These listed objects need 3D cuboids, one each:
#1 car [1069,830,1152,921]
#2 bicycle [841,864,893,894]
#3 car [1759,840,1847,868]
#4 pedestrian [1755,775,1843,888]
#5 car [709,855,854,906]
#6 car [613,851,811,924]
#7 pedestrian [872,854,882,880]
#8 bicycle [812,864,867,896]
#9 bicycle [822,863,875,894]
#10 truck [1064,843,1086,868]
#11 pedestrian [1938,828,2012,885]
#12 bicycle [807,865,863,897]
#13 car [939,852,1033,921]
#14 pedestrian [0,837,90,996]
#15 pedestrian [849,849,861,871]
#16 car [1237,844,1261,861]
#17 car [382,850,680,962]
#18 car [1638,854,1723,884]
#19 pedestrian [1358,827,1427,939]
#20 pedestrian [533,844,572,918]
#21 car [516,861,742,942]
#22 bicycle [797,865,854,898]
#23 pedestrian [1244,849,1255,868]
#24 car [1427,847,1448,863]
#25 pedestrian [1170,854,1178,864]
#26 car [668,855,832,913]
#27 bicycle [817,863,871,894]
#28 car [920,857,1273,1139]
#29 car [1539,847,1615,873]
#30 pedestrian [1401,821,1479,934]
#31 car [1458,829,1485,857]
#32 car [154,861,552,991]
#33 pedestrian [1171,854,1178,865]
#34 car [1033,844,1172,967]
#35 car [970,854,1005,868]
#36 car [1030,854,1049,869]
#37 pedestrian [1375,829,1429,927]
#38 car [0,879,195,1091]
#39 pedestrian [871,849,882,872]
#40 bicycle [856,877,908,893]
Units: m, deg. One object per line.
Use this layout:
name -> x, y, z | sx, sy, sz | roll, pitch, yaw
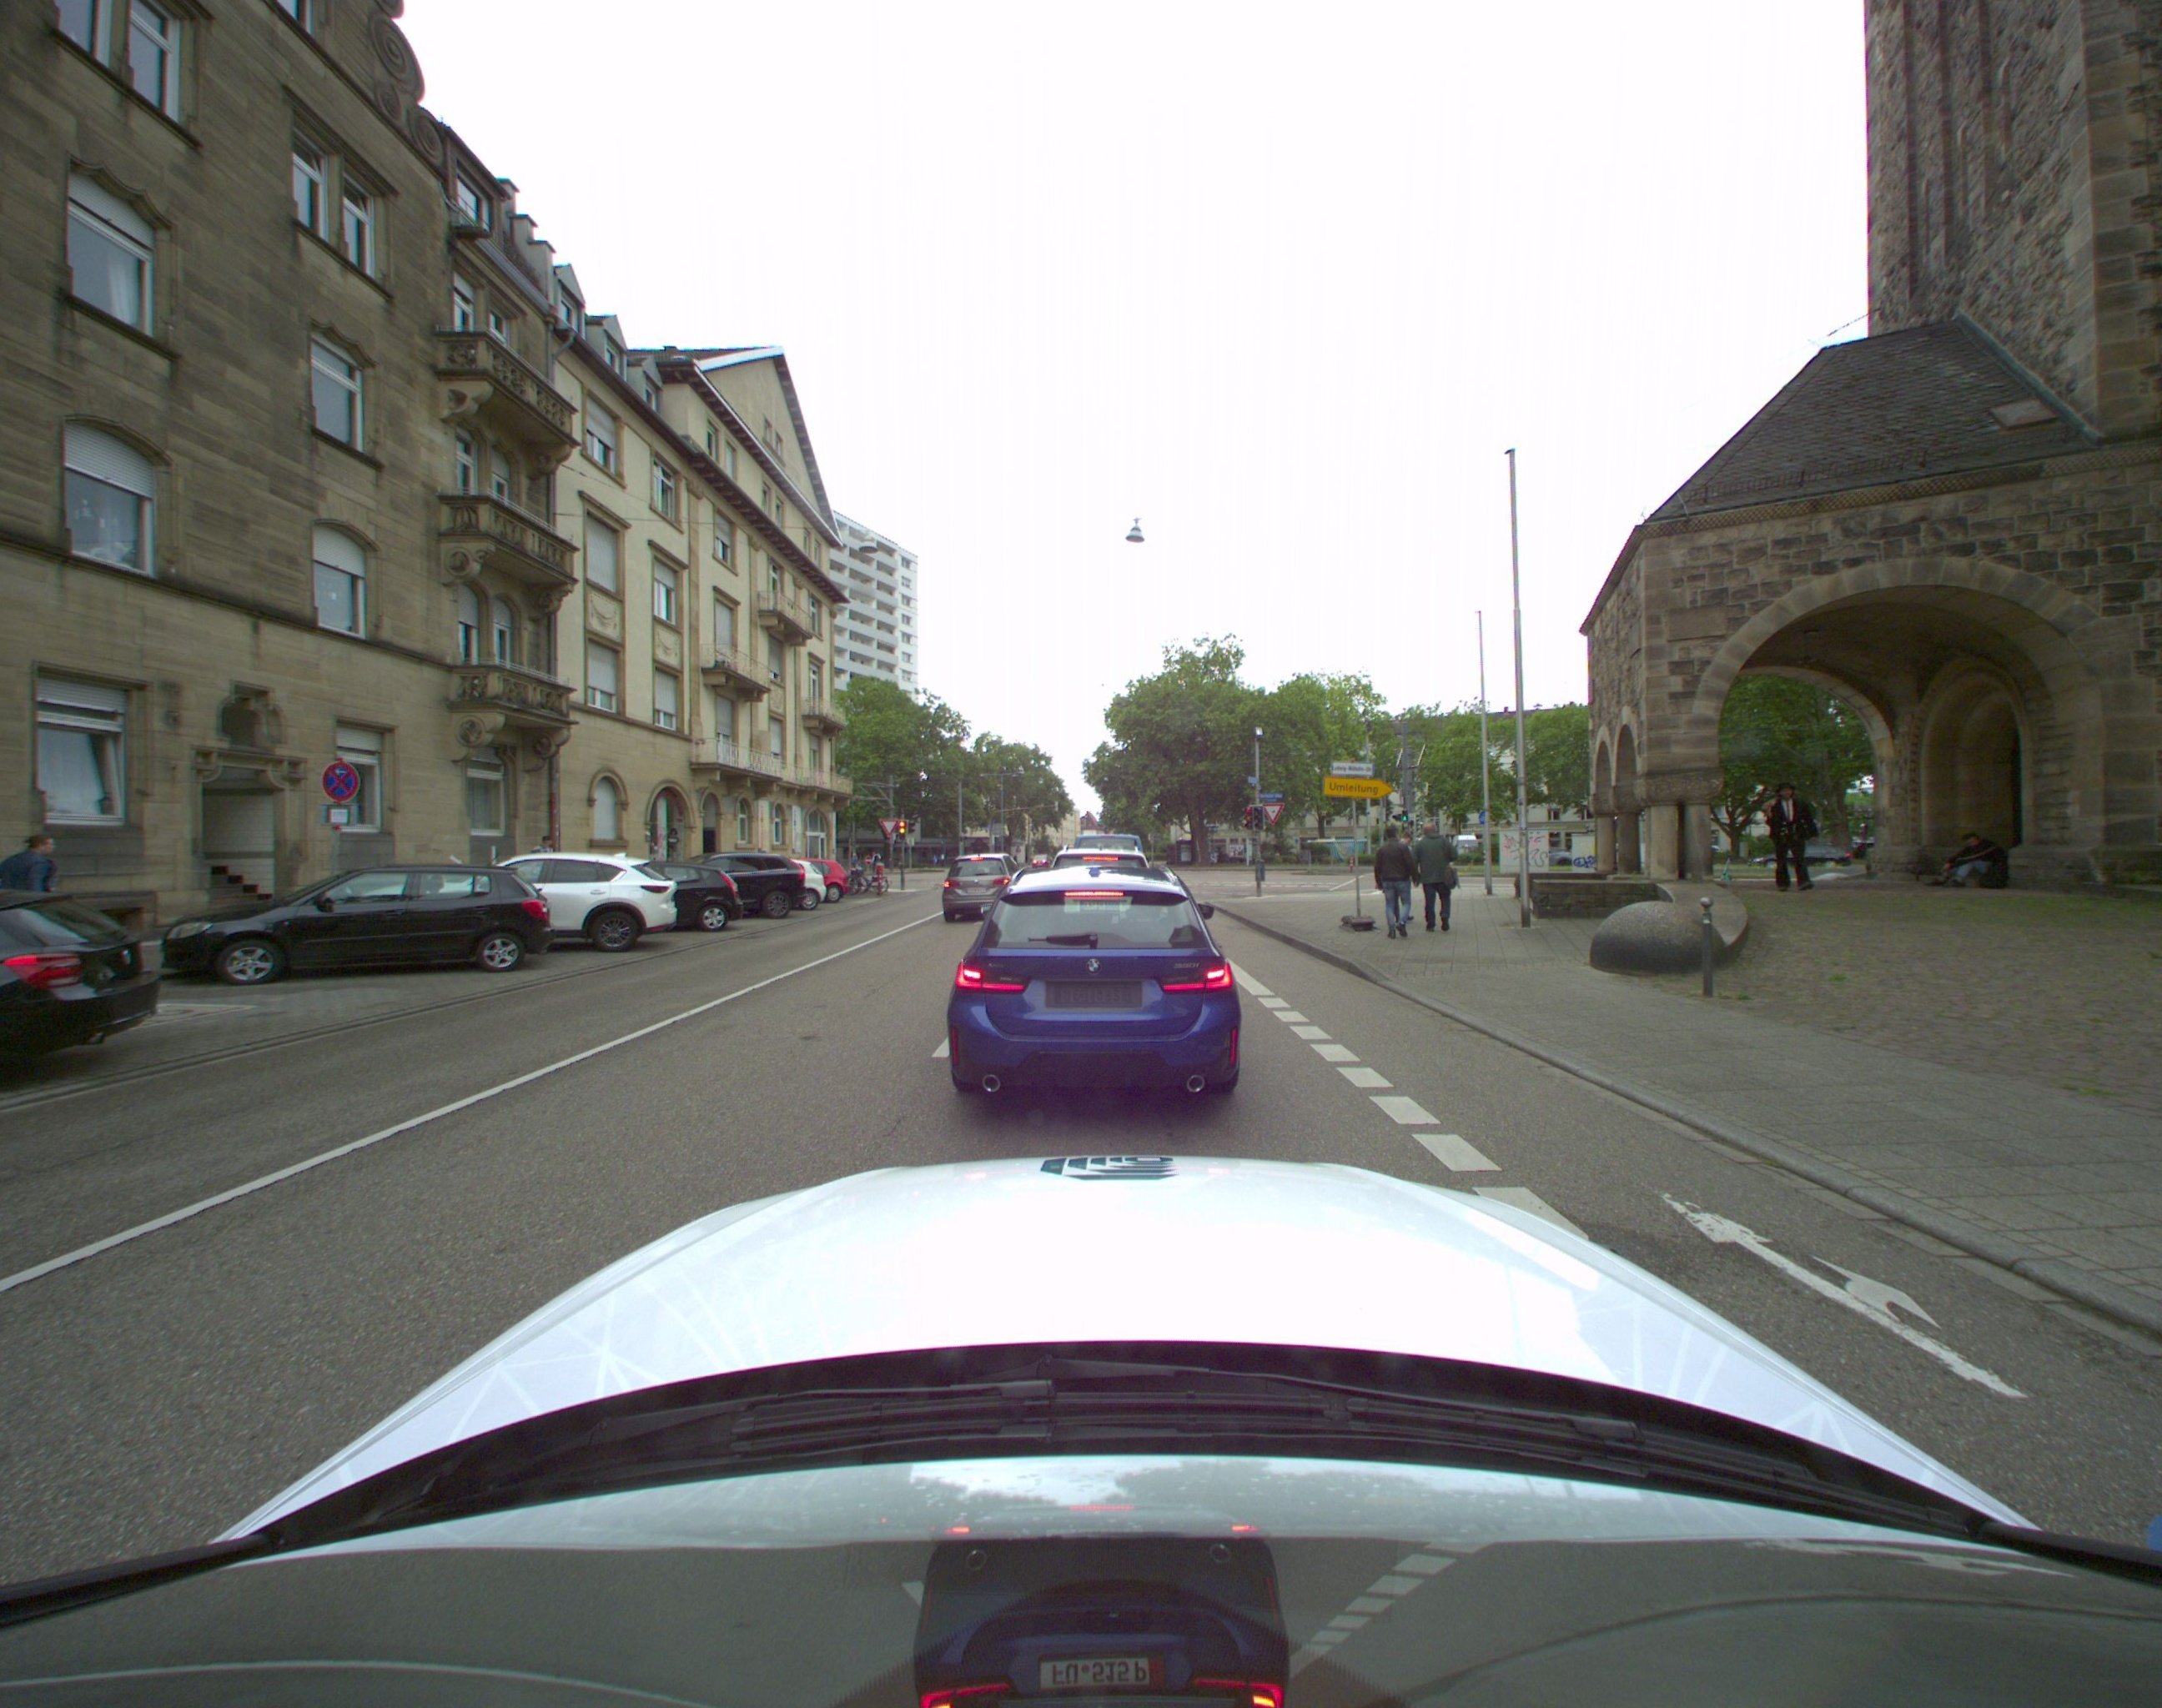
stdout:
car -> 0.720, 0.473, 20.187 | 1.808, 2.005, 4.002 | -1, 0, 2
bicycle -> -8.587, 0.995, 32.695 | 1.880, 1.035, 0.442 | 5, 0, -1
car -> 41.701, 0.016, 47.130 | 3.425, 1.561, 1.697 | -1, 0, 24
pedestrian -> 12.048, -0.359, 13.705 | 0.806, 1.808, 1.025 | -1, 0, 22
car -> -9.498, 0.809, 26.039 | 1.663, 1.472, 4.024 | 1, 0, 43
car -> -9.217, 0.770, 20.530 | 4.248, 1.651, 1.711 | 0, 0, -41
pedestrian -> -15.990, 1.015, 63.934 | 0.623, 2.014, 0.617 | 0, -1, 0
bicycle -> -9.152, 0.971, 30.862 | 1.880, 1.035, 0.442 | 5, 0, -1
bicycle -> -9.166, 0.967, 32.160 | 1.880, 1.035, 0.442 | 5, 0, -1
truck -> -0.576, 0.131, 81.114 | 2.068, 2.408, 5.461 | -2, 0, 0
pedestrian -> 15.535, 0.046, 14.164 | 0.665, 0.951, 0.618 | -1, 0, 24
bicycle -> -9.155, 0.989, 30.326 | 1.880, 1.035, 0.442 | 5, 0, -1
car -> -2.269, 0.736, 20.351 | 1.726, 1.525, 4.002 | -1, 0, 2
pedestrian -> -13.273, 0.778, 10.361 | 0.616, 1.958, 0.551 | -1, 0, 2
pedestrian -> -18.028, 0.459, 64.906 | 0.672, 1.771, 0.726 | -1, 0, 1
car -> 22.116, -0.187, 107.072 | 2.154, 2.200, 4.024 | -1, 0, 26
car -> -9.280, 0.797, 14.197 | 4.004, 1.723, 1.827 | 0, 0, -23
car -> 36.511, 0.912, 49.744 | 3.901, 1.711, 1.697 | -1, -1, 24
pedestrian -> 4.962, 0.443, 13.026 | 0.672, 1.686, 0.969 | -3, 0, 2
pedestrian -> -12.970, 0.649, 19.990 | 0.564, 1.785, 0.551 | -1, 0, 3
car -> -9.480, 0.912, 17.207 | 4.017, 1.494, 1.713 | 0, 0, -36
bicycle -> -9.270, 0.990, 29.511 | 1.877, 1.035, 0.443 | 4, 0, 4
pedestrian -> 16.000, 0.445, 77.331 | 0.781, 1.743, 0.925 | -1, 0, 0
car -> 35.207, 0.081, 80.364 | 1.649, 1.515, 3.962 | -1, 0, 28
pedestrian -> 11.859, 0.630, 103.880 | 0.814, 1.372, 0.763 | -1, 0, 1
car -> -9.357, 0.823, 23.198 | 4.021, 1.472, 1.546 | 2, 0, -41
bicycle -> -9.150, 0.950, 31.524 | 1.880, 1.035, 0.442 | 5, 0, -1
car -> 0.148, 0.760, 6.393 | 1.808, 1.405, 4.322 | -1, 0, 2
car -> 31.551, 0.405, 51.936 | 3.940, 1.561, 1.697 | -1, 0, 24
pedestrian -> 5.904, 0.368, 13.448 | 0.801, 1.758, 0.969 | -3, 0, 1
car -> 39.165, -1.076, 81.660 | 2.214, 2.639, 5.480 | -1, 0, 28
car -> -9.630, 0.868, 11.198 | 3.830, 1.497, 1.552 | 1, -1, -37
pedestrian -> 11.832, 0.669, 102.957 | 0.850, 1.314, 0.763 | -1, 0, 1
car -> 0.346, 0.677, 12.788 | 1.808, 1.592, 4.002 | -1, 0, 2
car -> -12.099, 0.899, 105.080 | 4.014, 1.706, 1.980 | 0, -1, -32
car -> -4.213, 0.780, 83.509 | 1.643, 1.447, 3.512 | -1, 0, 2
pedestrian -> 5.753, 0.415, 14.632 | 0.629, 1.673, 0.971 | -3, 0, 8
car -> -9.124, 0.907, 5.451 | 4.016, 1.417, 1.644 | 1, -1, -34
pedestrian -> -16.410, 0.511, 65.445 | 0.672, 1.771, 0.726 | -1, 0, 1
bicycle -> -8.223, 1.286, 33.726 | 1.880, 0.445, 1.029 | 5, 2, -1
